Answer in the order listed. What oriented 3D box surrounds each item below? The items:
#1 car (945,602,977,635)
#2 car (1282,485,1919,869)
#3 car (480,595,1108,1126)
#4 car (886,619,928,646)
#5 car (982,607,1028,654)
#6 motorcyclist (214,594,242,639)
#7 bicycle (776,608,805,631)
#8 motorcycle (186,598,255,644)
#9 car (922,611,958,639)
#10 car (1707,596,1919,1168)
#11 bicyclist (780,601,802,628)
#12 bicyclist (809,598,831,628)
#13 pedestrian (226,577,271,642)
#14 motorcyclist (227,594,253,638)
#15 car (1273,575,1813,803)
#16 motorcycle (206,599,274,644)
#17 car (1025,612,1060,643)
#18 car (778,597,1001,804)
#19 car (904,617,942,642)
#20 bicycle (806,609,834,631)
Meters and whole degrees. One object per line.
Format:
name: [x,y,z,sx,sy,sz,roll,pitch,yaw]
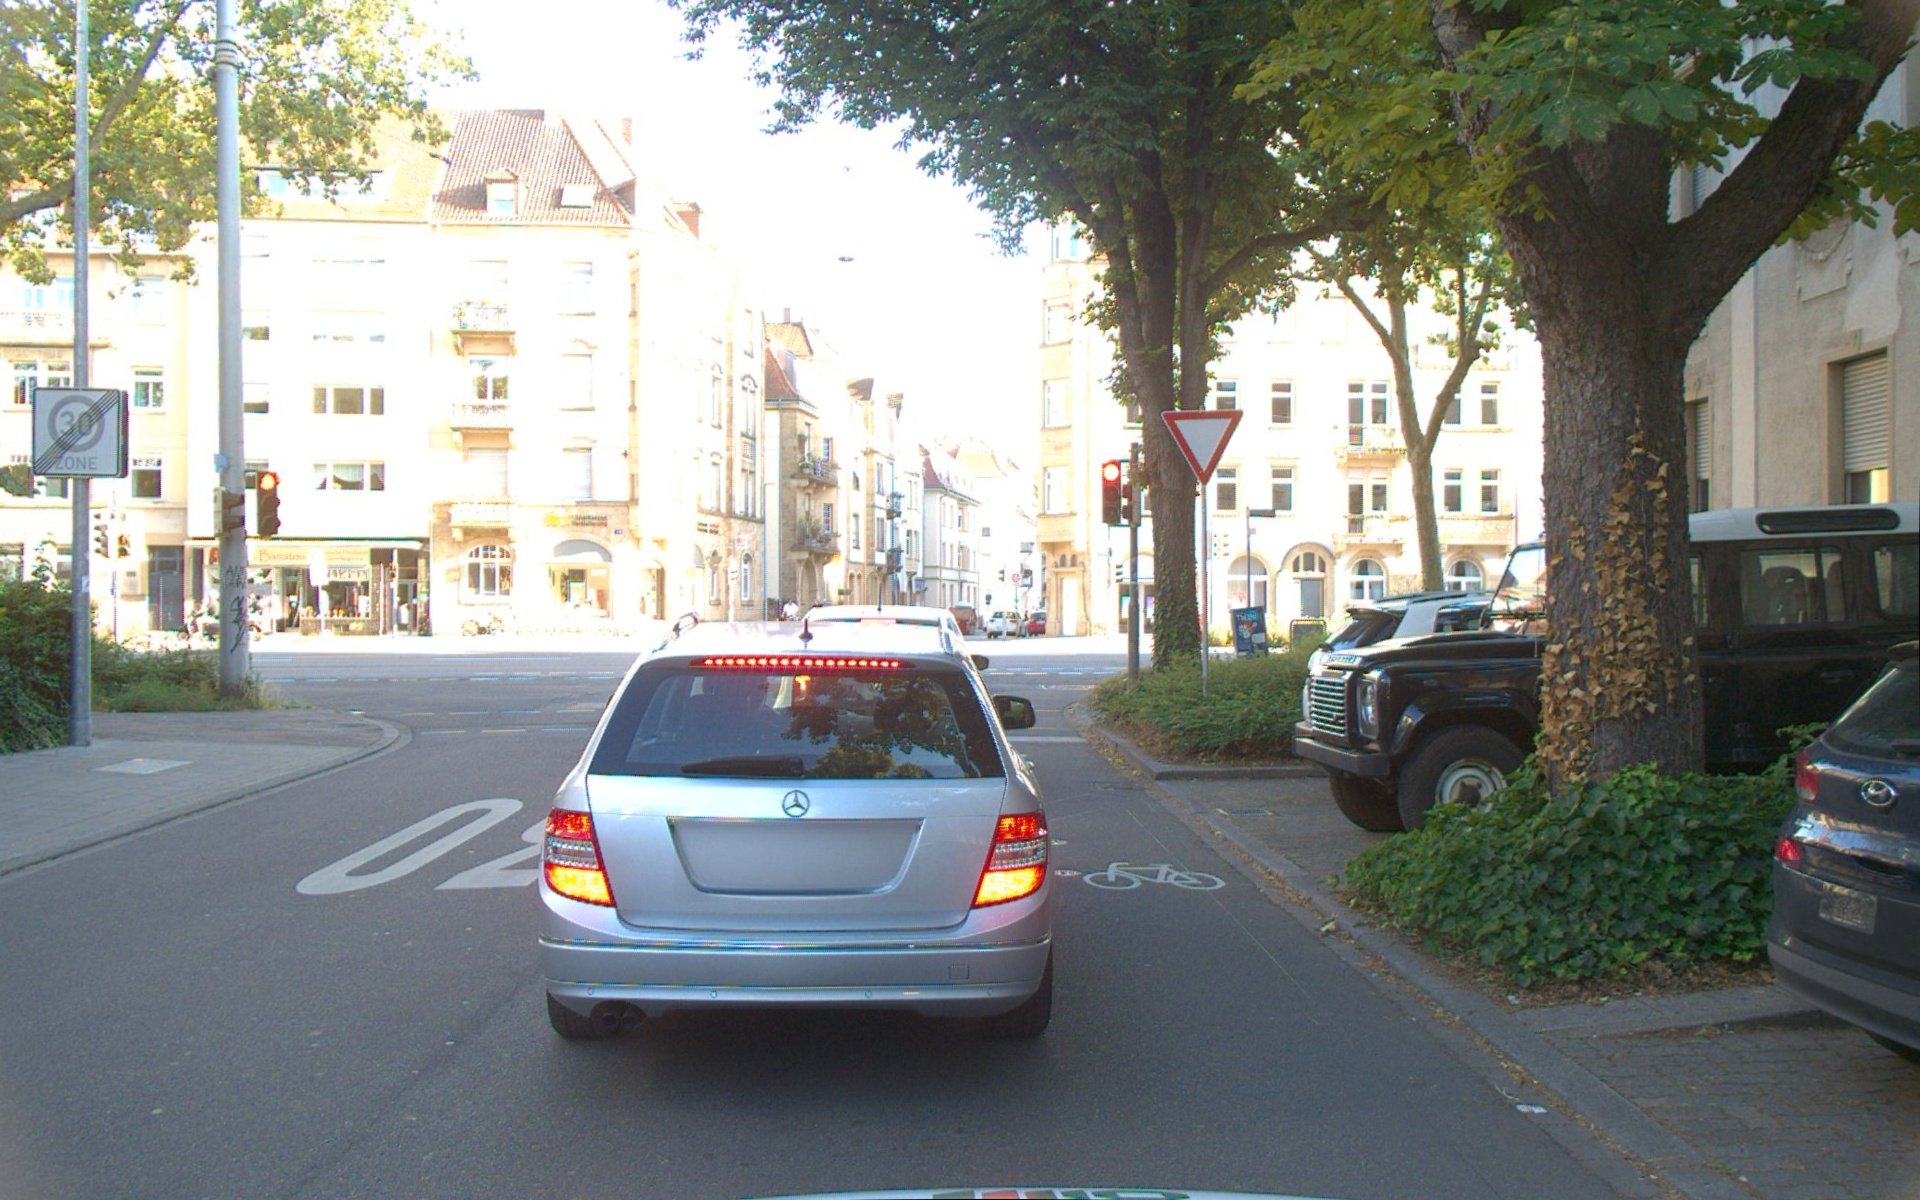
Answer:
car: [0.083,1.283,117.310,1.749,2.242,4.003,0,1,7]
car: [4.368,0.407,10.161,4.377,2.072,1.699,-1,0,-4]
car: [-0.552,0.735,6.920,1.741,1.477,4.546,1,0,-2]
car: [-3.072,1.873,96.944,1.796,1.427,4.003,0,1,7]
car: [2.354,1.553,85.890,1.987,2.319,4.003,0,1,7]
motorcyclist: [-24.234,0.538,54.750,0.668,1.477,0.568,0,0,-5]
bicycle: [-7.506,0.869,73.237,0.754,0.956,1.942,1,0,10]
motorcycle: [-24.452,0.688,54.737,1.993,1.477,0.568,0,0,-5]
car: [-1.269,1.635,108.696,1.796,1.692,4.003,0,1,7]
car: [4.283,0.697,4.583,3.650,1.477,1.707,-1,0,-4]
bicyclist: [-7.488,0.643,73.316,0.754,1.177,0.753,1,0,10]
bicyclist: [-6.207,0.584,73.346,0.754,1.312,0.753,1,0,10]
pedestrian: [-27.889,0.358,64.855,1.320,2.507,1.059,0,0,-5]
motorcyclist: [-24.330,0.544,55.886,0.668,1.477,0.568,0,0,-5]
car: [4.509,0.655,13.129,3.650,1.597,1.707,-1,0,-4]
motorcycle: [-24.322,0.721,55.887,1.993,1.477,0.568,0,0,-5]
car: [5.117,1.656,101.963,1.796,1.775,4.003,0,1,7]
car: [-0.592,0.725,14.010,1.587,1.472,4.342,1,0,-2]
car: [-2.273,1.824,102.448,1.796,1.427,4.003,0,1,7]
bicycle: [-6.210,0.883,73.344,0.754,0.950,1.942,1,0,10]
